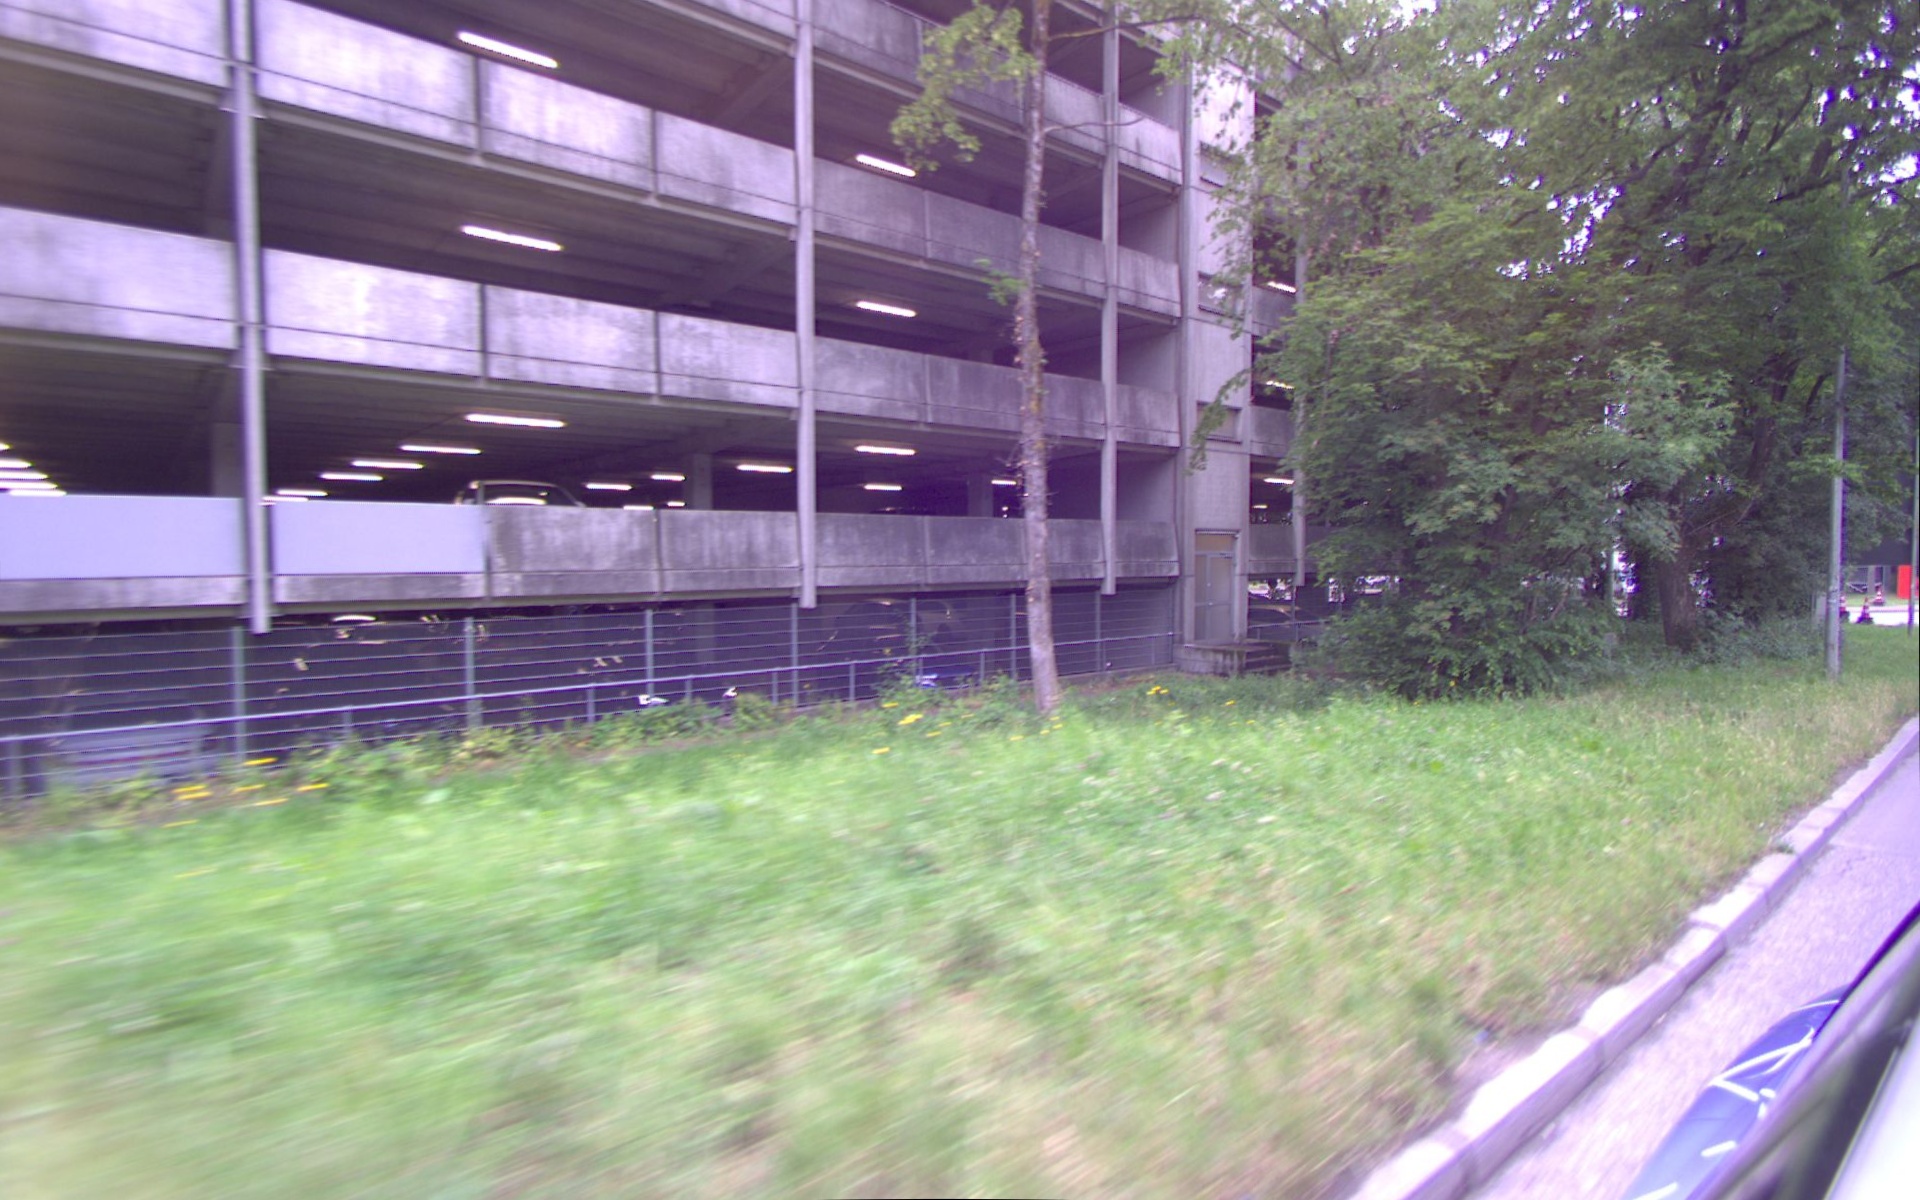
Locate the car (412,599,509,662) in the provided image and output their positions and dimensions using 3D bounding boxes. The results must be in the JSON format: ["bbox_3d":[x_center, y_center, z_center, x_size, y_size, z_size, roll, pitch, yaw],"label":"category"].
[{"bbox_3d":[-14.575,0.827,29.436,1.645,1.500,3.669,-2,4,-41],"label":"car"}]

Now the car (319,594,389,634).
[{"bbox_3d":[-22.544,0.474,37.597,1.667,1.284,3.521,-2,3,-40],"label":"car"}]

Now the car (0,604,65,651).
[{"bbox_3d":[-29.757,0.849,32.308,1.669,1.284,3.518,-2,3,-43],"label":"car"}]

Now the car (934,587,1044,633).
[{"bbox_3d":[1.033,0.323,37.785,1.795,1.506,4.066,-1,3,-41],"label":"car"}]

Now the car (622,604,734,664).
[{"bbox_3d":[-8.057,0.901,28.754,1.645,1.367,3.669,-2,4,-41],"label":"car"}]

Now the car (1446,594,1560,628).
[{"bbox_3d":[21.231,0.408,39.659,1.593,1.176,3.638,-1,2,-38],"label":"car"}]

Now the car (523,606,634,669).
[{"bbox_3d":[-10.428,0.954,27.568,1.645,1.367,3.669,-2,4,-41],"label":"car"}]

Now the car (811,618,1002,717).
[{"bbox_3d":[-1.181,1.292,20.797,1.831,1.551,3.994,-1,3,-42],"label":"car"}]

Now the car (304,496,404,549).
[{"bbox_3d":[-17.033,-2.136,28.373,1.651,1.343,3.993,-4,4,-42],"label":"car"}]

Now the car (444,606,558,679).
[{"bbox_3d":[-11.772,1.018,25.855,1.645,1.500,3.669,-2,4,-41],"label":"car"}]

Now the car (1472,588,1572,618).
[{"bbox_3d":[22.861,0.095,41.257,1.512,1.100,3.251,-1,2,-40],"label":"car"}]

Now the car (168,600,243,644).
[{"bbox_3d":[-25.932,0.707,34.756,1.669,1.284,3.518,-2,3,-43],"label":"car"}]

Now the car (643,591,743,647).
[{"bbox_3d":[-9.000,0.599,33.938,1.759,1.563,3.698,-3,4,-42],"label":"car"}]

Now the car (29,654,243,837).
[{"bbox_3d":[-10.985,1.733,13.520,1.914,1.525,4.601,-1,3,-40],"label":"car"}]

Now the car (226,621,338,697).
[{"bbox_3d":[-15.454,1.264,23.010,1.645,1.299,3.669,-2,4,-41],"label":"car"}]

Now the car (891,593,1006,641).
[{"bbox_3d":[-0.450,0.527,35.192,1.795,1.433,4.066,-1,3,-41],"label":"car"}]

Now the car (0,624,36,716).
[{"bbox_3d":[-19.381,1.363,19.963,1.645,1.458,3.668,-2,4,-42],"label":"car"}]

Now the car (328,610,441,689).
[{"bbox_3d":[-13.812,1.109,24.218,1.645,1.497,3.669,-2,4,-41],"label":"car"}]

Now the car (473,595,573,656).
[{"bbox_3d":[-13.682,0.735,31.610,1.759,1.563,3.698,-3,4,-42],"label":"car"}]

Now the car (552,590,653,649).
[{"bbox_3d":[-11.485,0.573,32.426,1.759,1.563,3.698,-3,4,-42],"label":"car"}]

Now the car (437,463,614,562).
[{"bbox_3d":[-7.060,-1.331,16.237,1.798,1.359,3.845,-1,3,-36],"label":"car"}]

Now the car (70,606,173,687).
[{"bbox_3d":[-20.704,1.069,24.950,1.759,1.563,3.698,-3,4,-42],"label":"car"}]

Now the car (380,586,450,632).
[{"bbox_3d":[-20.926,0.298,38.806,1.667,1.589,3.521,-2,3,-40],"label":"car"}]

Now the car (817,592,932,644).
[{"bbox_3d":[-2.922,0.552,33.862,1.795,1.470,4.066,-1,3,-41],"label":"car"}]
